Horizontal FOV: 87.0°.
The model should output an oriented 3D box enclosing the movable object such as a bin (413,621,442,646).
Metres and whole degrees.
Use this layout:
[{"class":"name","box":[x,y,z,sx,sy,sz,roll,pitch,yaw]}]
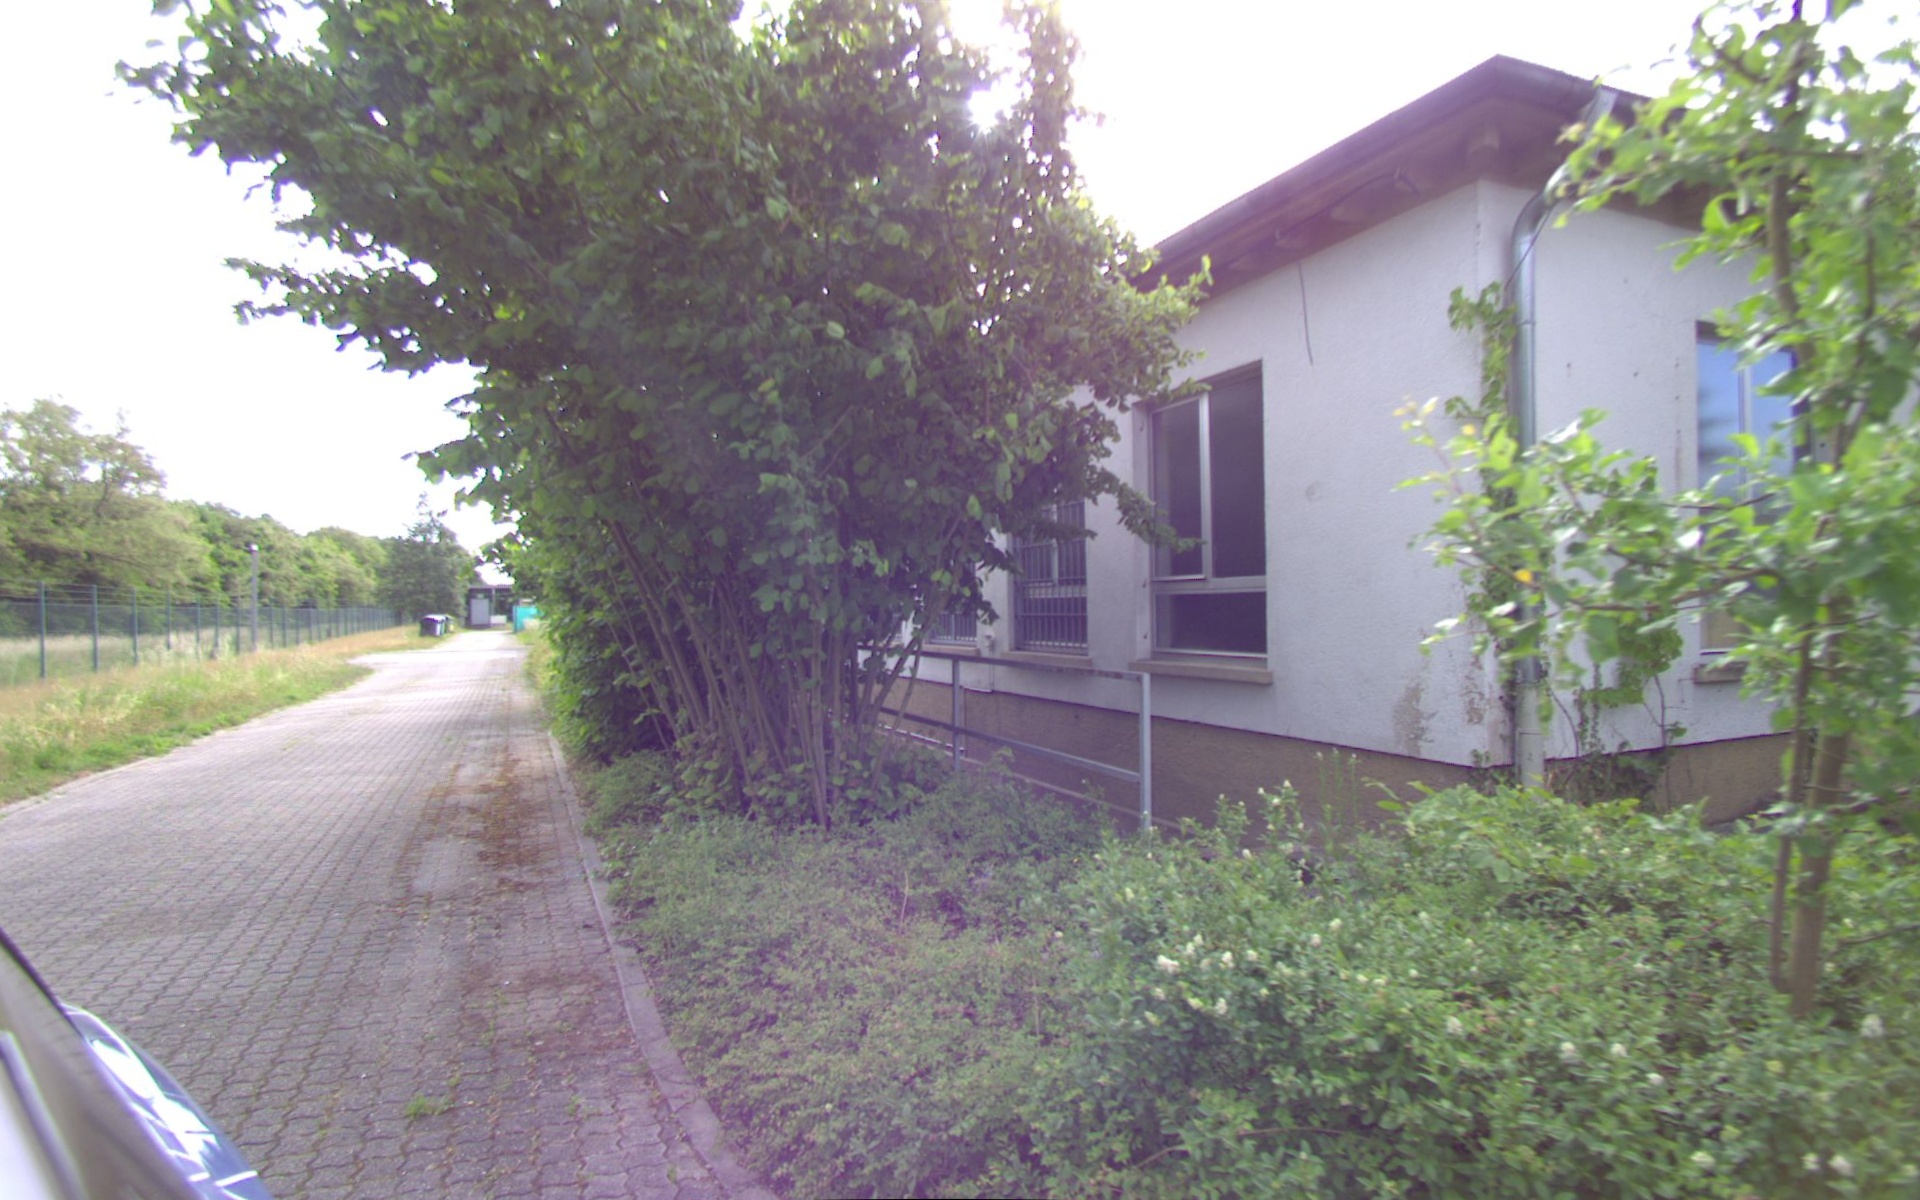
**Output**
[{"class":"movable object such as a bin","box":[-32.448,2.030,61.715,1.414,1.509,1.838,-1,-1,-24]}]
